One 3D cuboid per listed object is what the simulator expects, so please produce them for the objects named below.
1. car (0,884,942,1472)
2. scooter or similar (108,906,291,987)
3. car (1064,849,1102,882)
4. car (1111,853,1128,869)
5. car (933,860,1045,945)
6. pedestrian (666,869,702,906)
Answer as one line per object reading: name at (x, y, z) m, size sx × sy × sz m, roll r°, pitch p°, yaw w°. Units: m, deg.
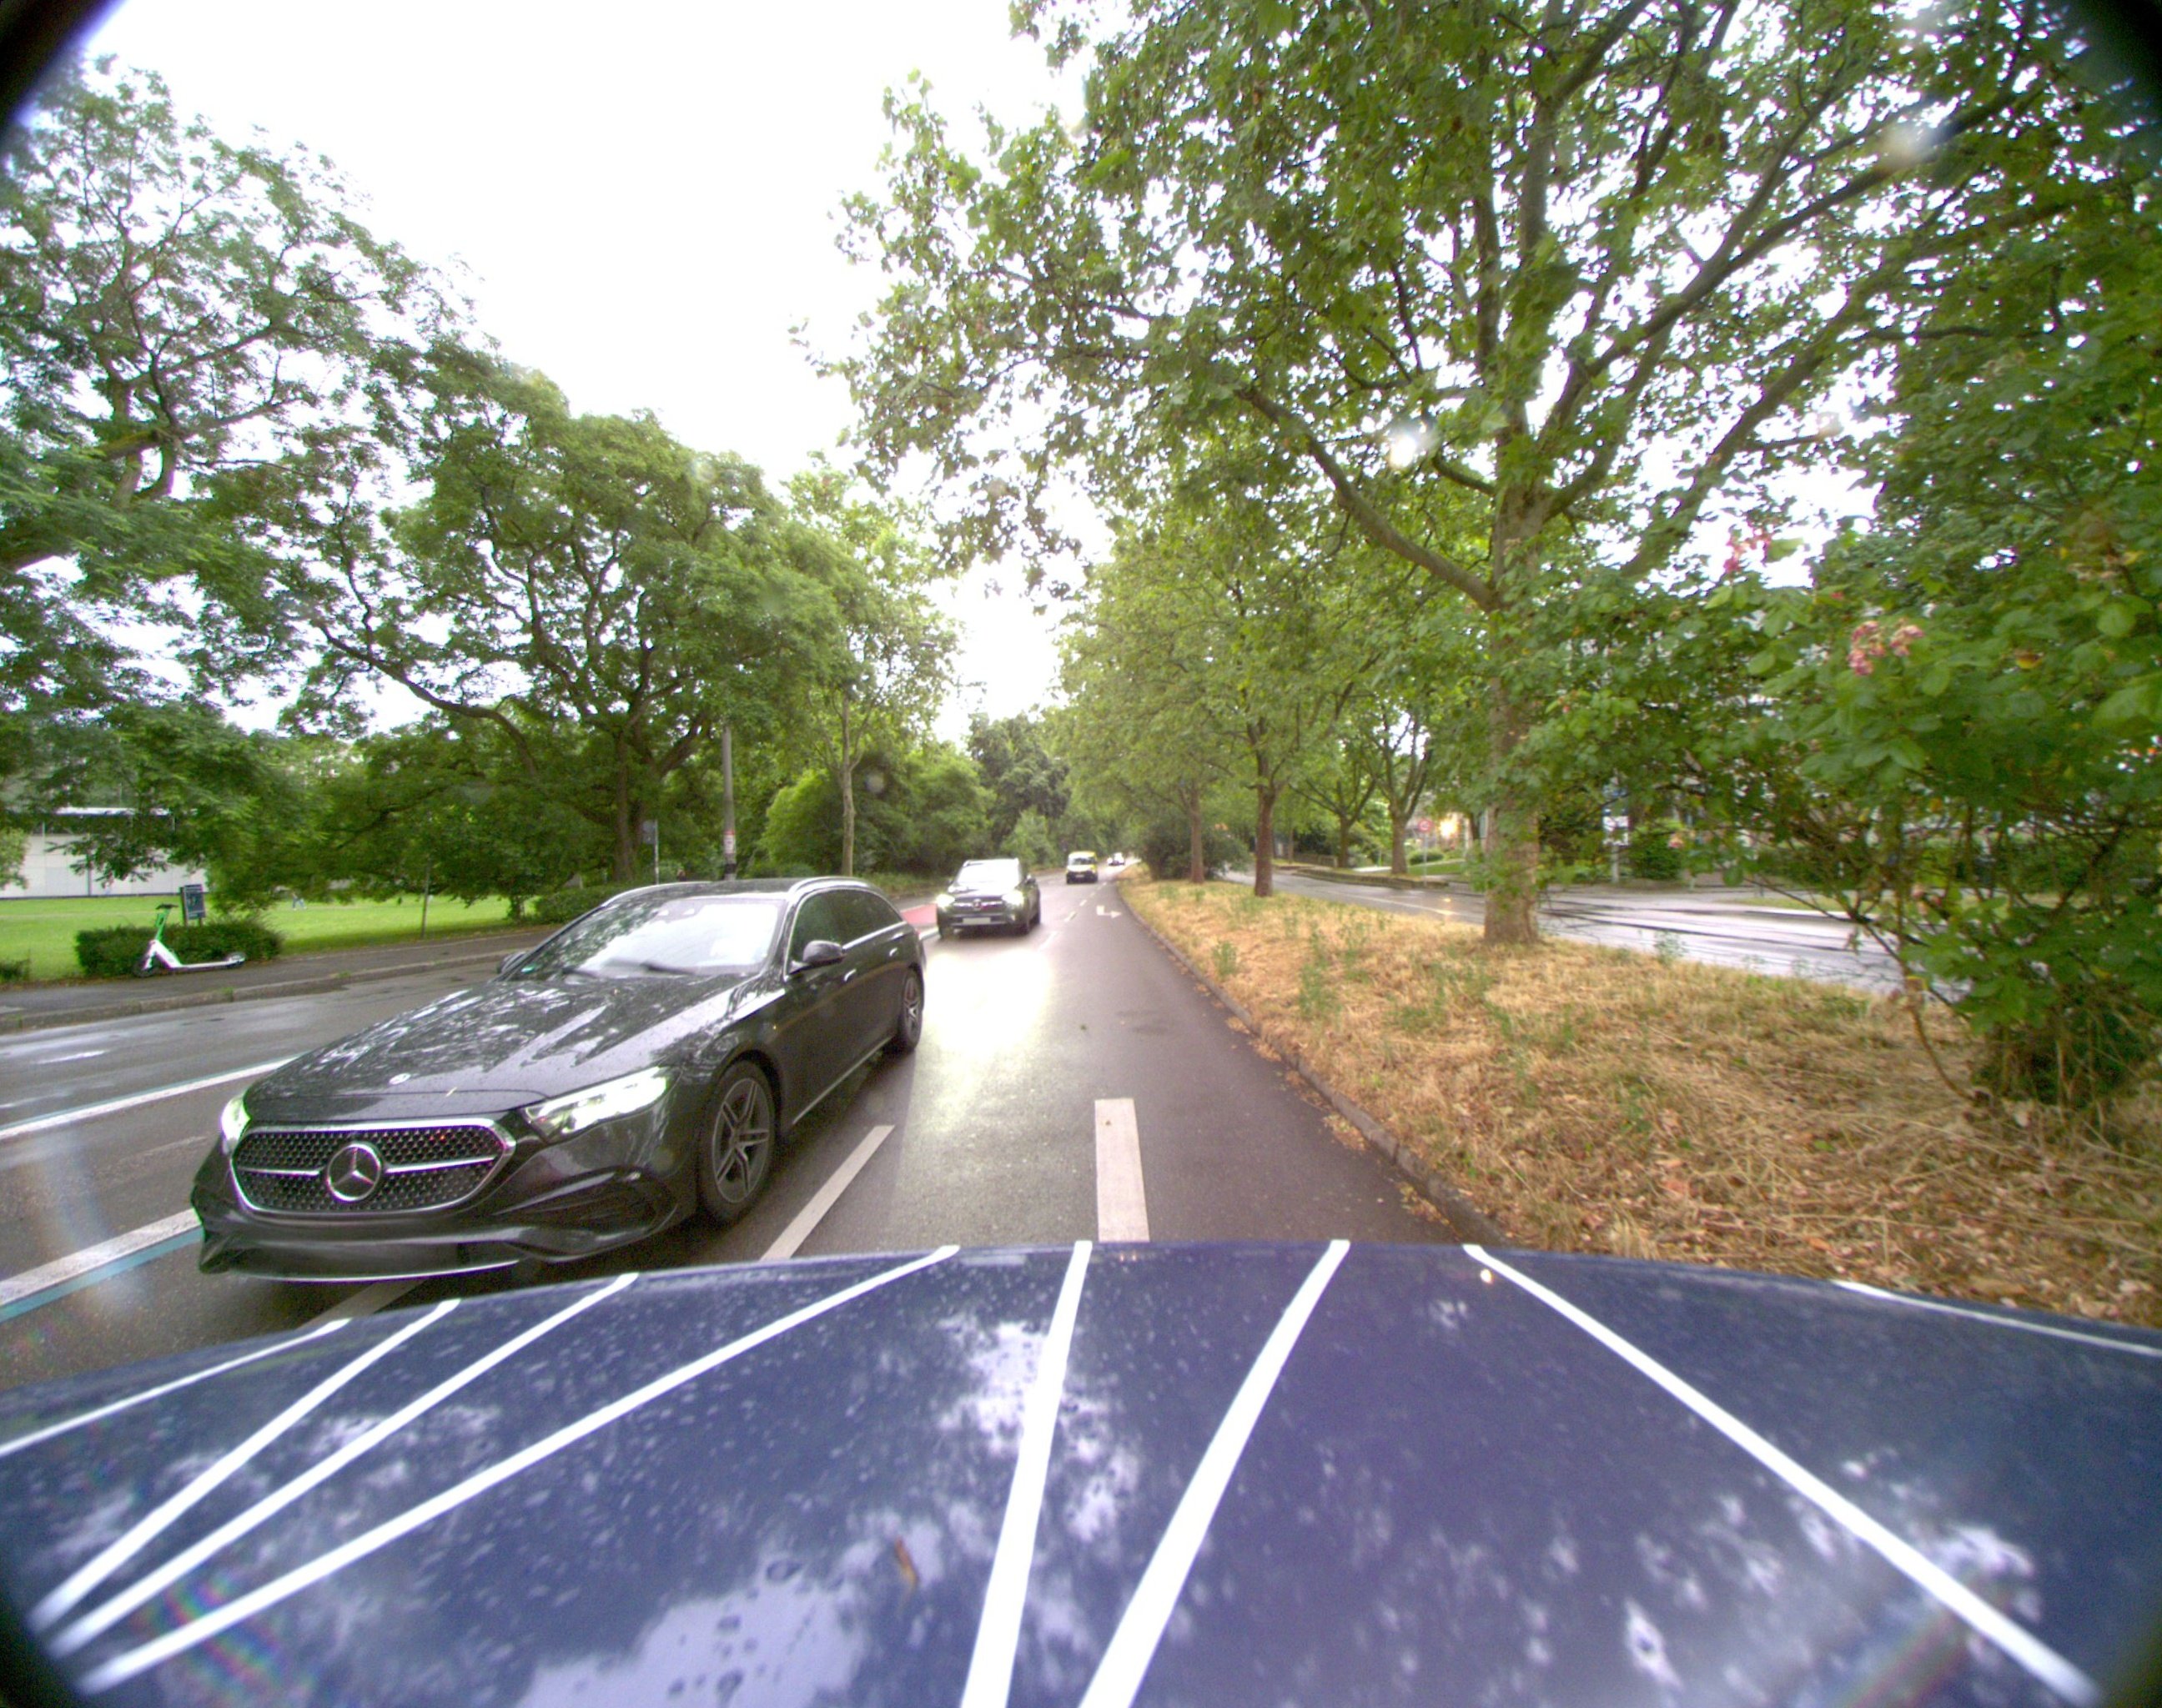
car at (-2.372, 1.043, 4.636) m, size 1.884 × 1.437 × 4.931 m, roll -3°, pitch 0°, yaw 2°
scooter or similar at (-14.549, 1.485, 12.621) m, size 0.557 × 1.095 × 1.894 m, roll 2°, pitch 0°, yaw 22°
car at (0.178, 0.668, 47.567) m, size 1.883 × 1.865 × 4.743 m, roll -3°, pitch 0°, yaw 5°
car at (4.503, 0.776, 88.761) m, size 1.906 × 1.766 × 4.001 m, roll -2°, pitch 0°, yaw 4°
car at (-1.958, 0.997, 17.548) m, size 1.833 × 1.598 × 4.578 m, roll -3°, pitch 0°, yaw 2°
pedestrian at (-17.757, 1.486, 33.980) m, size 1.068 × 1.597 × 1.060 m, roll -1°, pitch 2°, yaw 42°
